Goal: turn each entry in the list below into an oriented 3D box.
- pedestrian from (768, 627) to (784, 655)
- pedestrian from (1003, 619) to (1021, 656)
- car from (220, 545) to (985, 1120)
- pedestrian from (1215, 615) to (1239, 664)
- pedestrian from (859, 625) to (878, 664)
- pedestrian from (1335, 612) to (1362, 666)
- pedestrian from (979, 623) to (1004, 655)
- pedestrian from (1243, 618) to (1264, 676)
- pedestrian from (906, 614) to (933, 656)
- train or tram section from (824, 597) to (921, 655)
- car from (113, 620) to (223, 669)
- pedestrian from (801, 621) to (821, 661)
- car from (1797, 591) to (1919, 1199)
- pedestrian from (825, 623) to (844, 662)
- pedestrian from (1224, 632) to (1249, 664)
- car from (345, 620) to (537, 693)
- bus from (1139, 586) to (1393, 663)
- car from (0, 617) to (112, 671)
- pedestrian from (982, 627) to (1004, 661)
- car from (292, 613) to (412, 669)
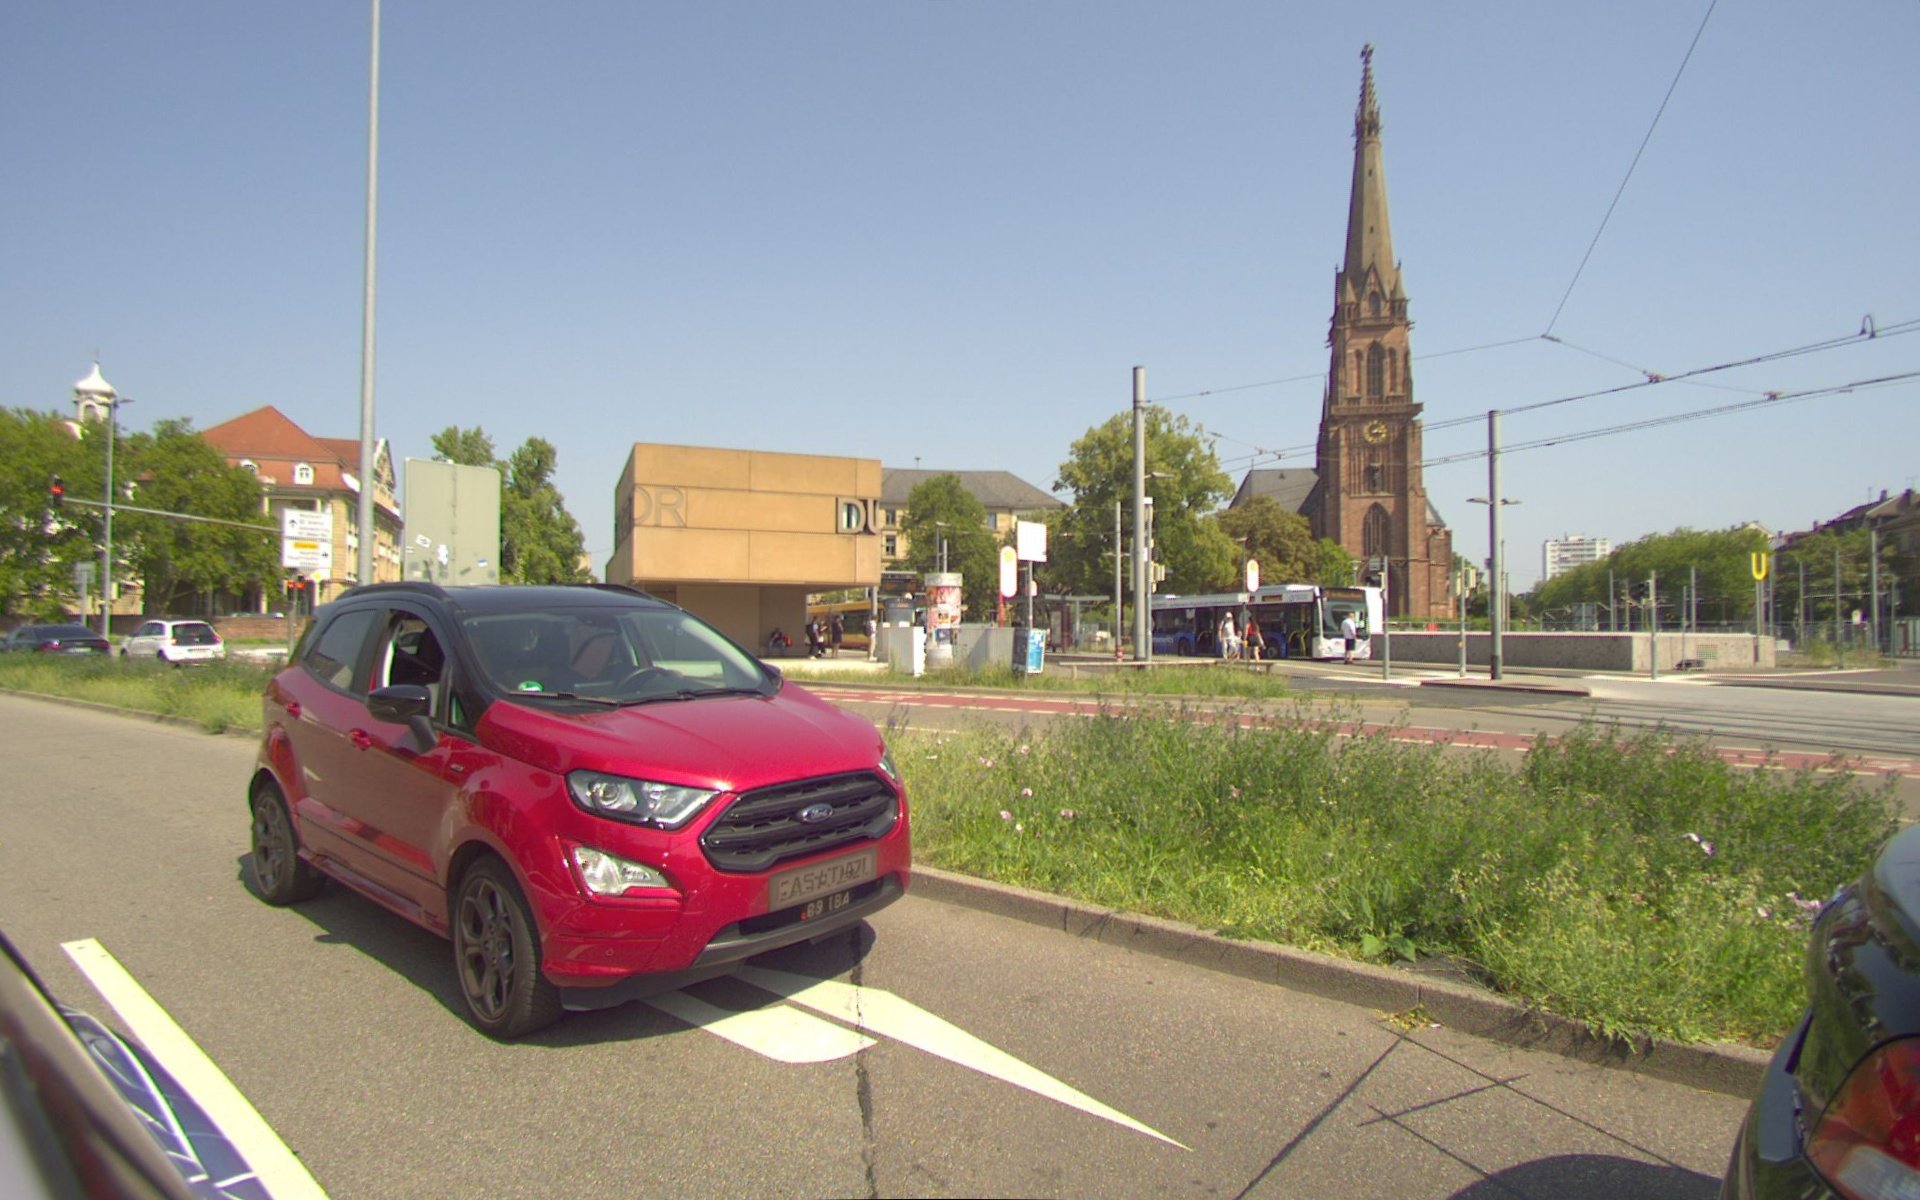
[{"bbox_3d":[-7.381,1.656,40.590,0.530,1.108,0.543,1,-2,-18],"label":"pedestrian"},{"bbox_3d":[2.617,1.869,50.919,0.792,1.837,0.535,1,-2,-21],"label":"pedestrian"},{"bbox_3d":[-1.900,0.679,4.715,3.842,1.598,1.672,-1,-1,41],"label":"car"},{"bbox_3d":[9.533,1.402,36.153,0.682,1.724,0.537,2,-2,-41],"label":"pedestrian"},{"bbox_3d":[-3.592,1.735,39.782,0.541,1.508,0.532,-1,-3,39],"label":"pedestrian"},{"bbox_3d":[13.518,1.338,35.197,0.592,1.825,0.640,-1,0,-35],"label":"pedestrian"},{"bbox_3d":[1.710,2.116,55.225,1.060,1.709,1.068,1,-2,-21],"label":"pedestrian"},{"bbox_3d":[9.448,1.502,32.579,0.632,1.825,0.599,-1,0,15],"label":"pedestrian"},{"bbox_3d":[-1.481,1.282,37.030,0.605,1.508,0.761,-1,-3,39],"label":"pedestrian"},{"bbox_3d":[-6.087,1.772,67.068,2.658,3.465,13.464,1,-2,-21],"label":"train or tram section"},{"bbox_3d":[-25.038,1.387,31.985,3.462,1.490,1.511,-1,-2,29],"label":"car"},{"bbox_3d":[-5.721,1.570,38.899,0.541,1.508,0.532,-1,-3,39],"label":"pedestrian"},{"bbox_3d":[2.819,0.652,0.312,1.745,1.398,3.783,0,-1,-45],"label":"car"},{"bbox_3d":[-4.926,1.654,39.771,0.541,1.508,0.532,-1,-3,39],"label":"pedestrian"},{"bbox_3d":[10.022,1.735,36.704,0.628,1.134,0.602,-1,0,-42],"label":"pedestrian"},{"bbox_3d":[-12.576,1.313,24.448,4.699,1.597,1.979,-1,-2,32],"label":"car"},{"bbox_3d":[12.214,1.074,42.541,3.346,2.733,12.382,1,-2,-21],"label":"bus"},{"bbox_3d":[-25.660,1.232,28.655,3.466,1.437,1.510,-1,-2,32],"label":"car"},{"bbox_3d":[1.789,2.412,55.229,0.913,1.837,0.940,1,-2,-21],"label":"pedestrian"},{"bbox_3d":[-21.201,1.391,35.278,3.898,1.868,1.851,0,-2,29],"label":"car"}]
